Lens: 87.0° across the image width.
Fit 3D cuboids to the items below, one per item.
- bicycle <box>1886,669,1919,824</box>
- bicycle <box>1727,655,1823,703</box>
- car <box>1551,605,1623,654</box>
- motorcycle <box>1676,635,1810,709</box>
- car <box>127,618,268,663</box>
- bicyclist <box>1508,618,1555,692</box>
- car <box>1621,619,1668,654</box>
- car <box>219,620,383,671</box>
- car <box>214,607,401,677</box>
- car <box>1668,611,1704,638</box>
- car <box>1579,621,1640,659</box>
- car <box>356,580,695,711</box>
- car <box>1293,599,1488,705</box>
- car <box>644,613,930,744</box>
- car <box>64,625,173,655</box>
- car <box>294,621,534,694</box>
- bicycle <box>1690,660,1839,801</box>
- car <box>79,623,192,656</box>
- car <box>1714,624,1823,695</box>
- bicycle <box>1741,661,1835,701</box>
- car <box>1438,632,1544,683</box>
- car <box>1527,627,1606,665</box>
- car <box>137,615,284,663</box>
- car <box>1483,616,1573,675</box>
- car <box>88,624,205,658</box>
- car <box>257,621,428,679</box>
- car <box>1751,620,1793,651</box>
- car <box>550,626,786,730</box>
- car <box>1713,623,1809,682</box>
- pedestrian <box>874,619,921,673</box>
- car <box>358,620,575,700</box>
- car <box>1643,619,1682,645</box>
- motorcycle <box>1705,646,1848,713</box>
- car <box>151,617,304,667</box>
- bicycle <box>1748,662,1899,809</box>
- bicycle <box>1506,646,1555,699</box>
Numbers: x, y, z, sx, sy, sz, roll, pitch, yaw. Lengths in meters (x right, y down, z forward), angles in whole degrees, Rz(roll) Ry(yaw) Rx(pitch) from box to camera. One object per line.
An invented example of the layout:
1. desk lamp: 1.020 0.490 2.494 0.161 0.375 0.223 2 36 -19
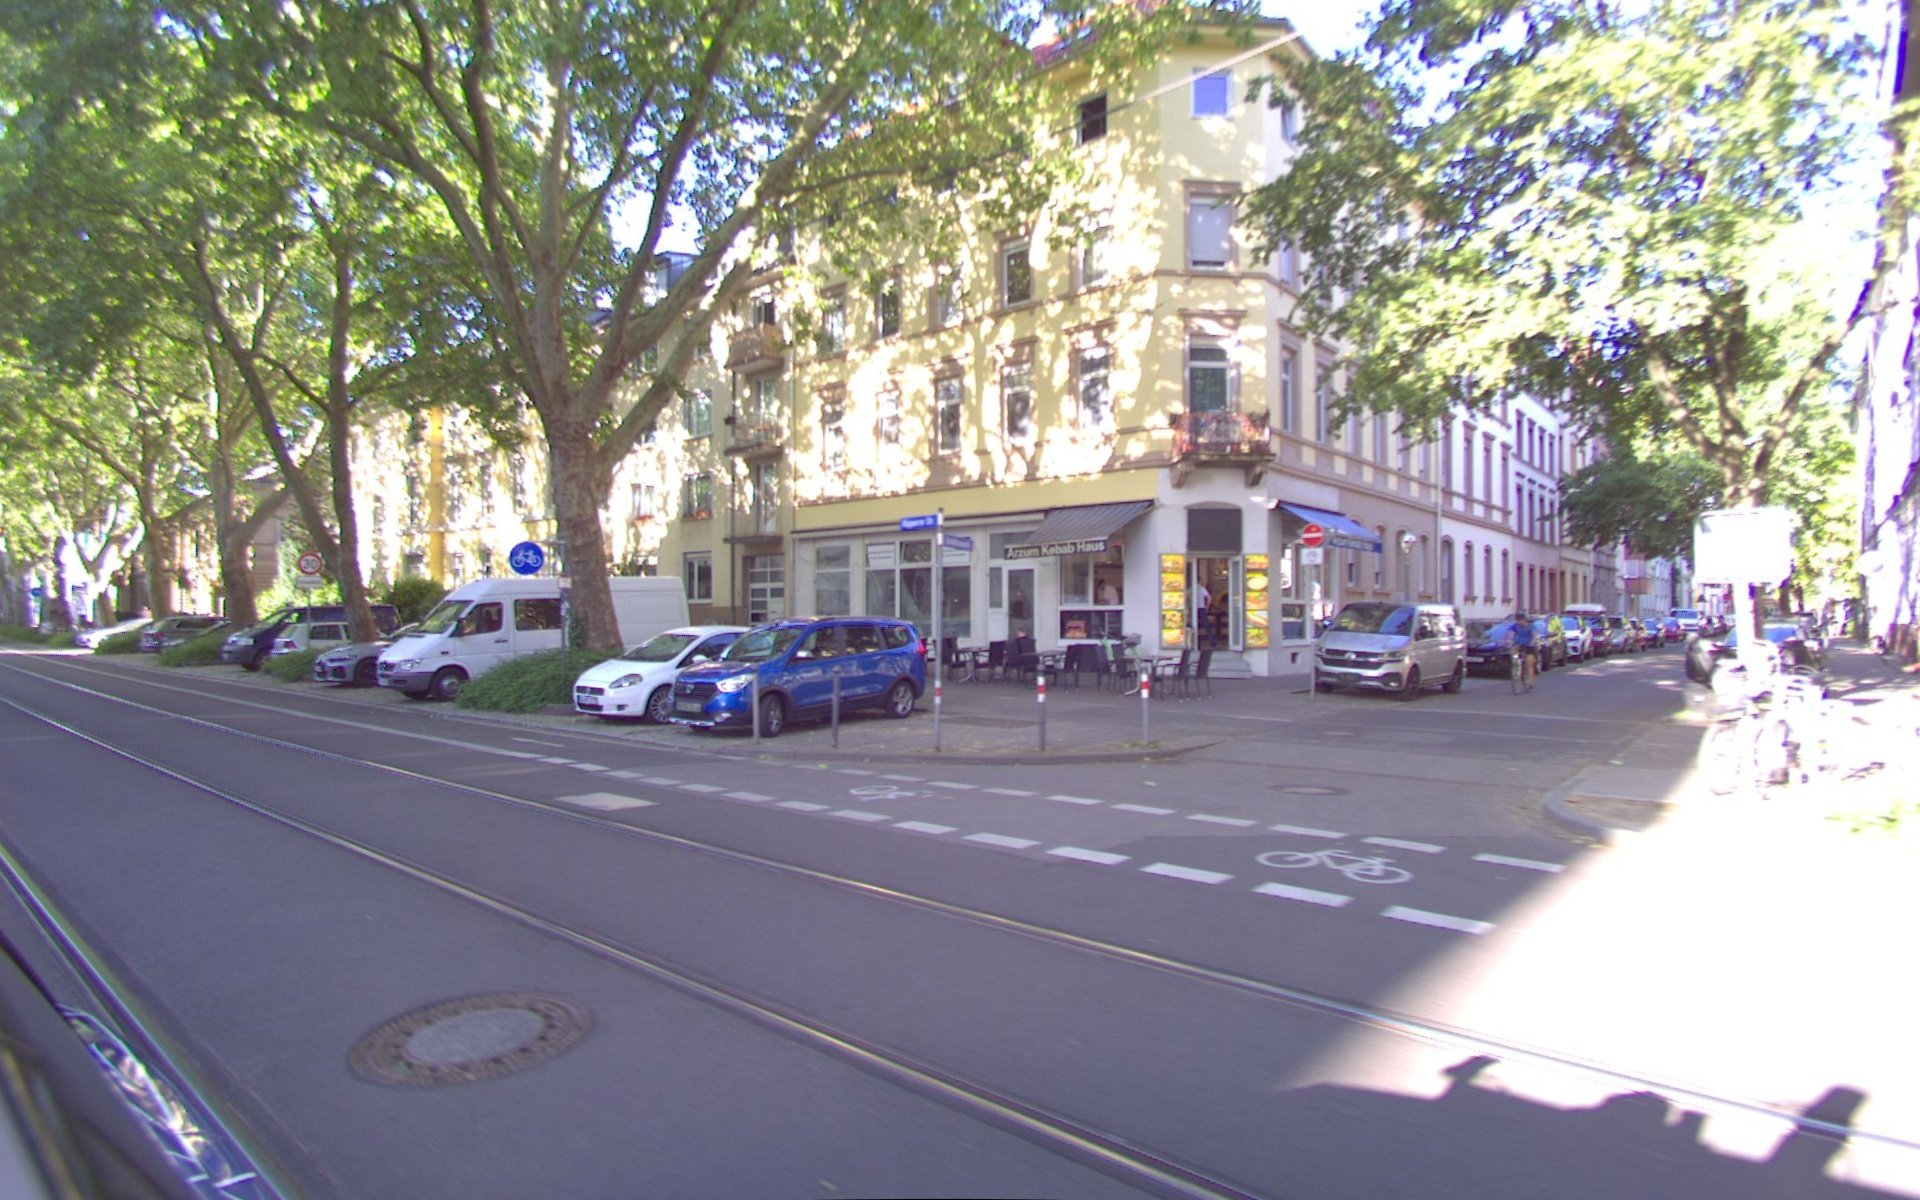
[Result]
1. bicycle: 7.769 1.084 7.814 1.830 1.096 0.397 1 -1 -31
2. bicycle: 16.168 1.556 20.095 1.452 0.866 0.393 -1 -2 43
3. car: 23.934 1.110 38.600 1.756 1.802 3.351 -1 -2 42
4. motorcycle: 14.391 1.299 18.636 0.581 1.271 1.877 1 -2 -44
5. car: -31.301 1.626 41.640 1.999 1.625 4.310 -2 0 41
6. bicyclist: 12.218 1.156 21.642 0.735 1.538 0.858 -1 -2 38
7. car: 34.716 1.802 51.316 1.542 1.707 3.117 -1 -2 42
8. car: -21.886 1.479 33.744 1.657 1.418 4.310 -2 0 41
9. car: -20.471 1.256 31.907 1.920 1.922 4.581 -2 0 39
10. car: 48.259 1.624 67.276 1.753 1.712 3.354 -1 -2 39
11. car: 27.208 1.632 42.366 1.616 1.505 3.559 -1 -2 42
12. car: -9.174 0.823 22.068 1.999 2.426 6.533 -2 0 41
13. car: 8.971 0.975 20.901 4.519 1.894 2.130 1 1 -45
14. car: -2.506 1.080 15.605 1.814 1.725 4.279 -1 -1 37
15. car: -41.712 1.948 50.213 1.410 1.385 3.949 -1 -1 37
16. car: -13.535 1.357 25.339 1.999 1.456 4.880 -2 0 41
17. bicycle: 7.117 1.104 8.929 1.830 1.096 0.397 1 -1 -31
18. car: -39.437 1.858 48.505 1.599 1.441 3.949 -1 -1 37
19. car: 18.511 1.301 23.131 1.756 1.475 3.351 -1 -2 42
20. bicycle: 16.749 1.619 20.491 1.452 0.738 0.393 -1 -2 43
21. car: 14.271 1.497 27.136 1.756 1.186 3.351 1 0 42
22. car: 20.938 1.549 34.895 1.756 1.186 3.351 -1 -2 42
23. car: -29.327 1.496 39.703 1.999 1.625 4.310 -2 0 41
24. car: 17.405 1.348 30.971 1.756 1.706 3.131 -1 -2 42
25. car: -37.442 1.842 46.644 1.526 1.441 3.949 -1 -1 37
26. car: -18.476 1.452 30.417 1.868 1.456 4.016 -2 0 41
27. car: 41.676 1.800 51.950 1.605 1.564 3.273 -1 -2 39
28. car: -4.790 1.212 17.111 1.740 1.529 3.745 -1 -1 28
29. car: 21.251 1.338 26.796 1.756 1.421 3.860 -1 -2 42
30. pedestrian: -1.501 1.091 24.330 0.930 1.250 0.699 -1 -2 43
31. car: -11.312 1.309 23.422 1.903 1.509 4.104 0 1 39
32. car: 41.326 1.858 59.526 1.661 1.492 3.354 -1 -2 39
33. motorcycle: 14.051 1.347 17.471 1.829 1.080 0.526 -1 -1 28
34. car: -27.425 1.525 37.981 1.999 1.625 4.310 -2 0 41
35. bicycle: 7.329 1.100 8.566 1.830 1.096 0.397 1 -1 -31
36. bicycle: 12.246 1.528 21.706 0.627 1.039 1.852 -1 -2 38
